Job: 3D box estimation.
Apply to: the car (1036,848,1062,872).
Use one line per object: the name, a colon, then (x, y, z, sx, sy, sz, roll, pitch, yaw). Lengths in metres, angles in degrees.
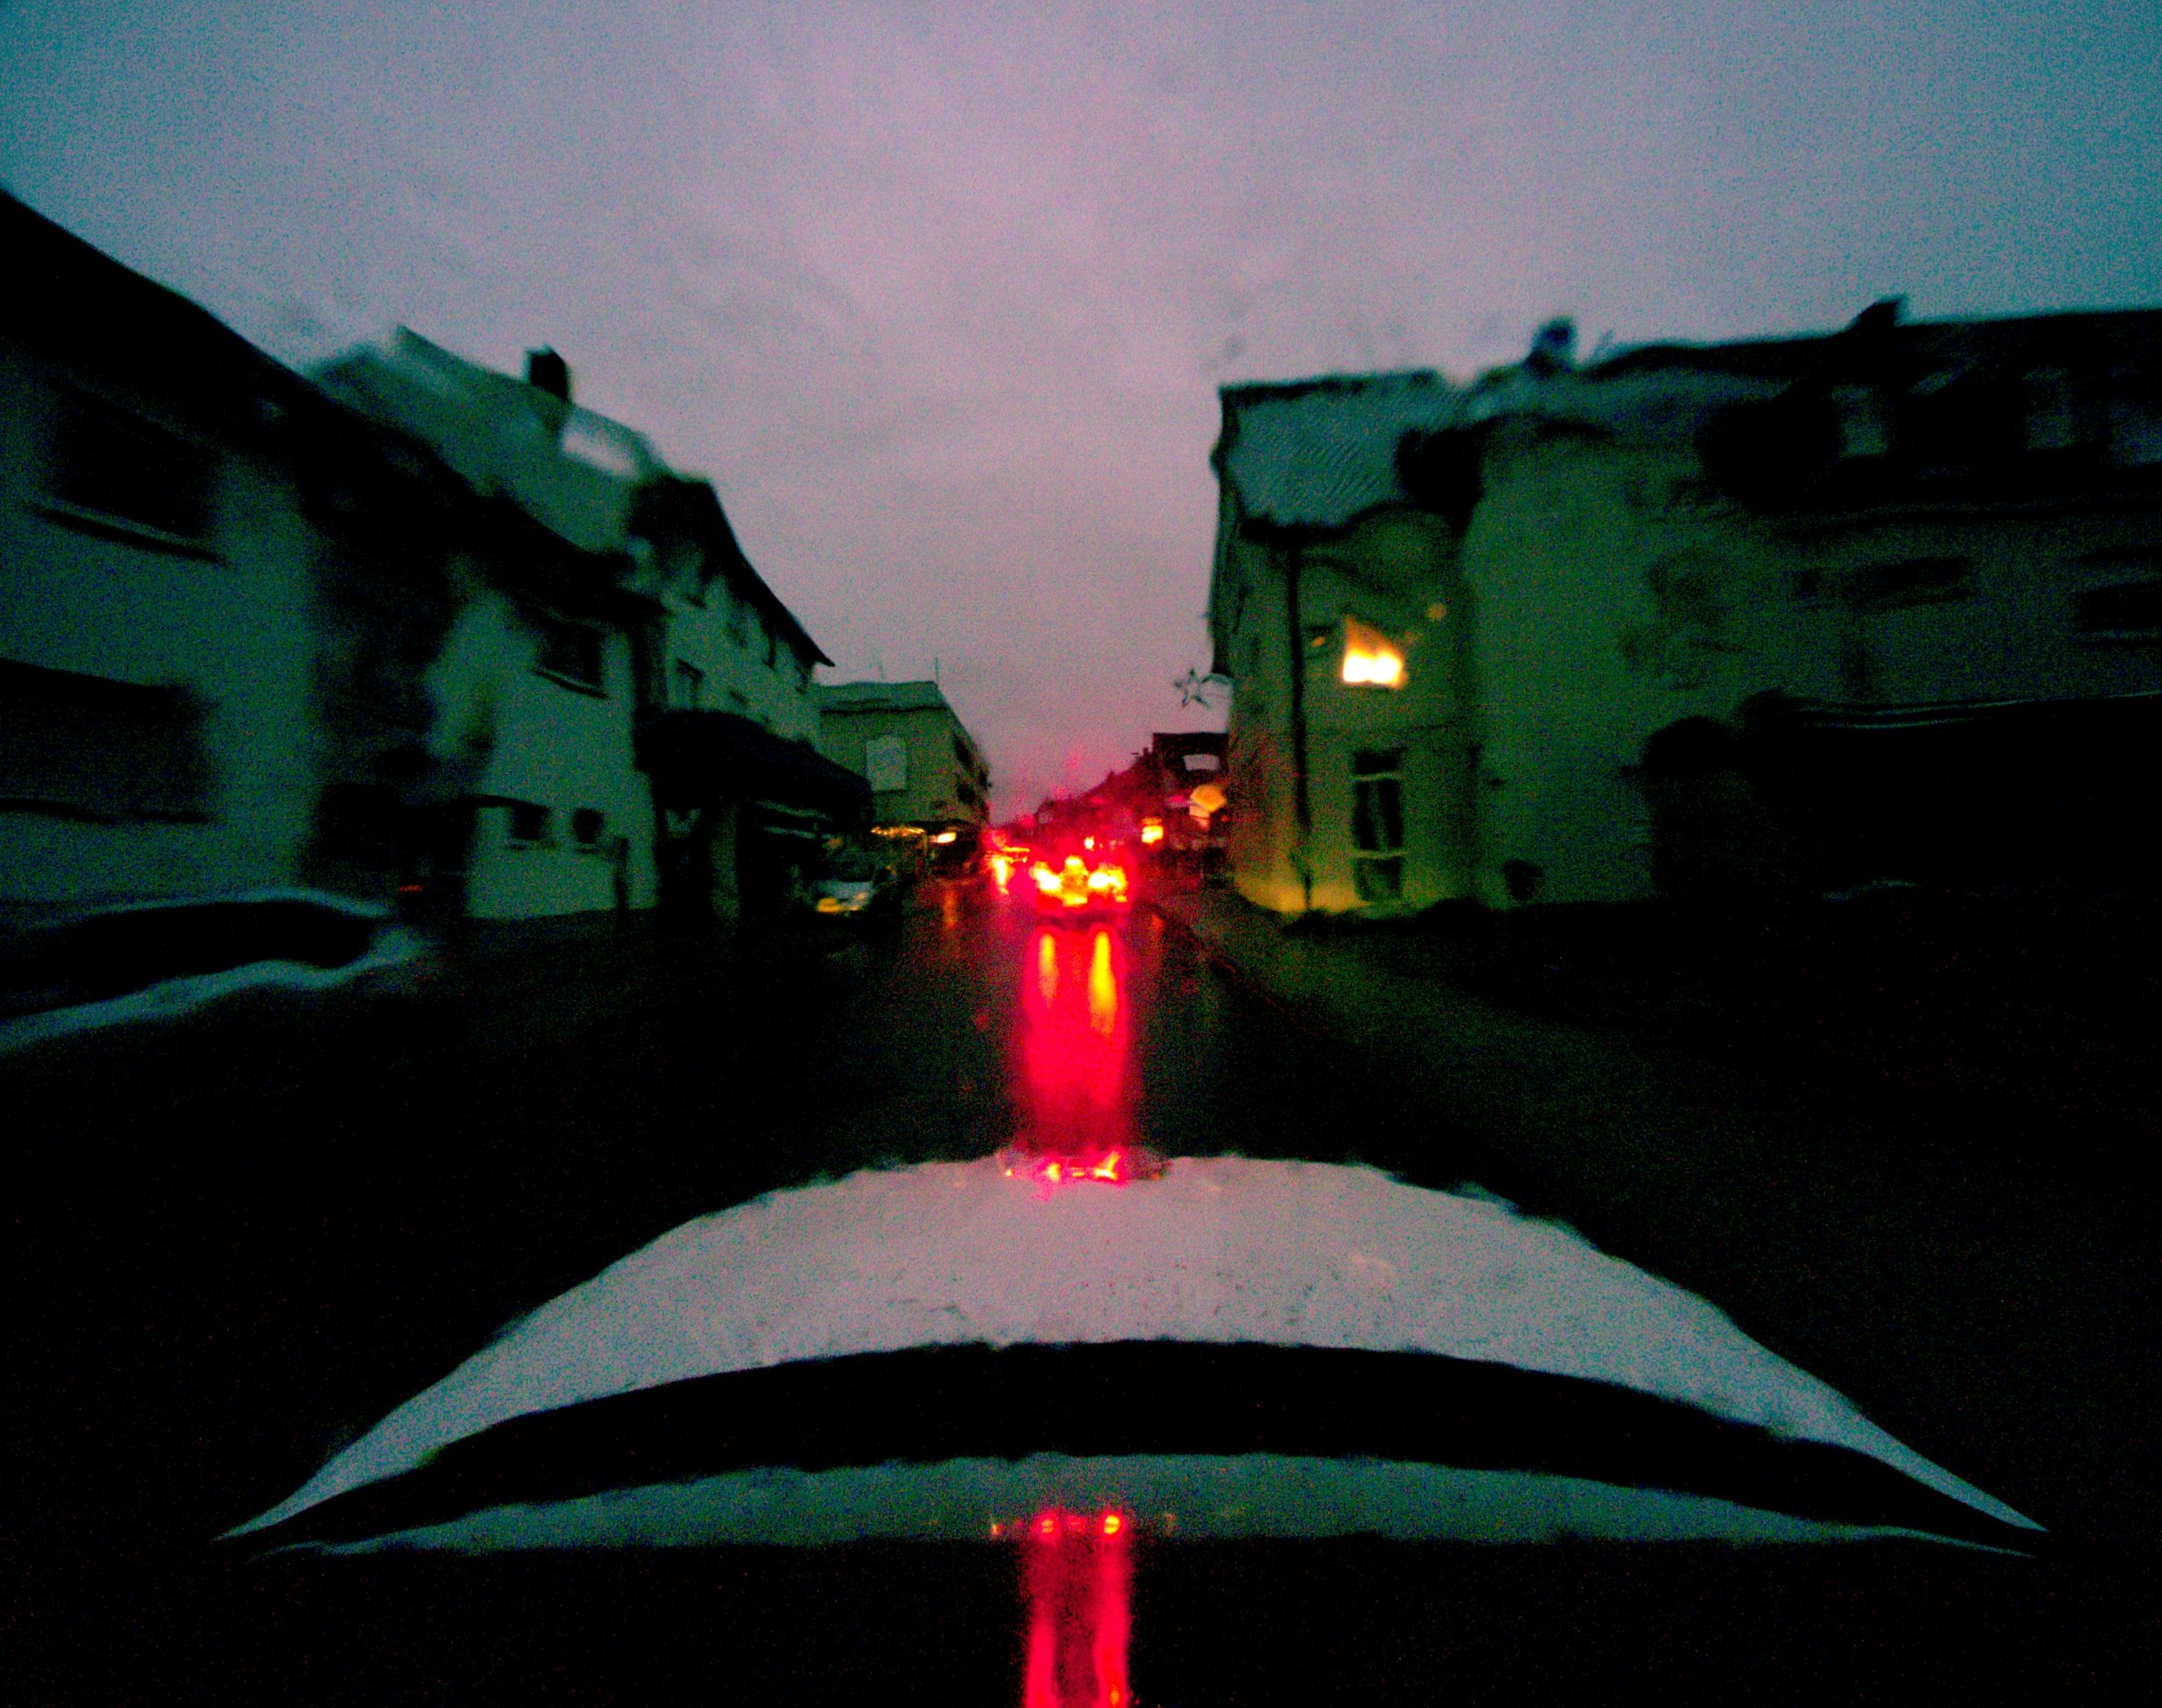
car: (-2.075, 0.385, 53.284, 1.634, 1.481, 3.376, -1, 0, -2)

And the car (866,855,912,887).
car: (-10.691, 0.922, 45.606, 1.761, 1.499, 4.443, -3, 2, -5)

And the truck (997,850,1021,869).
truck: (-12.124, 0.958, 137.339, 3.018, 3.128, 7.966, -1, 0, -12)

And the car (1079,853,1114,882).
car: (0.843, 0.768, 47.468, 1.728, 1.459, 3.997, -4, 0, -2)

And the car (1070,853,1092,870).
car: (-0.056, 0.744, 79.392, 1.790, 1.460, 4.525, -4, 0, -3)

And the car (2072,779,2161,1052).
car: (6.666, 0.307, 2.813, 1.779, 1.406, 3.745, -5, 2, -7)

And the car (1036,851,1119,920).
car: (-0.037, 0.679, 19.654, 1.764, 1.447, 3.728, -2, 0, 1)

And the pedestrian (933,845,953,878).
pedestrian: (-8.319, 0.462, 49.115, 0.976, 1.938, 1.195, -2, 0, -17)

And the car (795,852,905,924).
car: (-5.650, 0.758, 20.391, 1.716, 1.614, 3.814, 0, 0, -1)

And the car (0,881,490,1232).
car: (-5.654, 0.950, 4.210, 1.786, 1.456, 4.399, 0, 0, 4)
